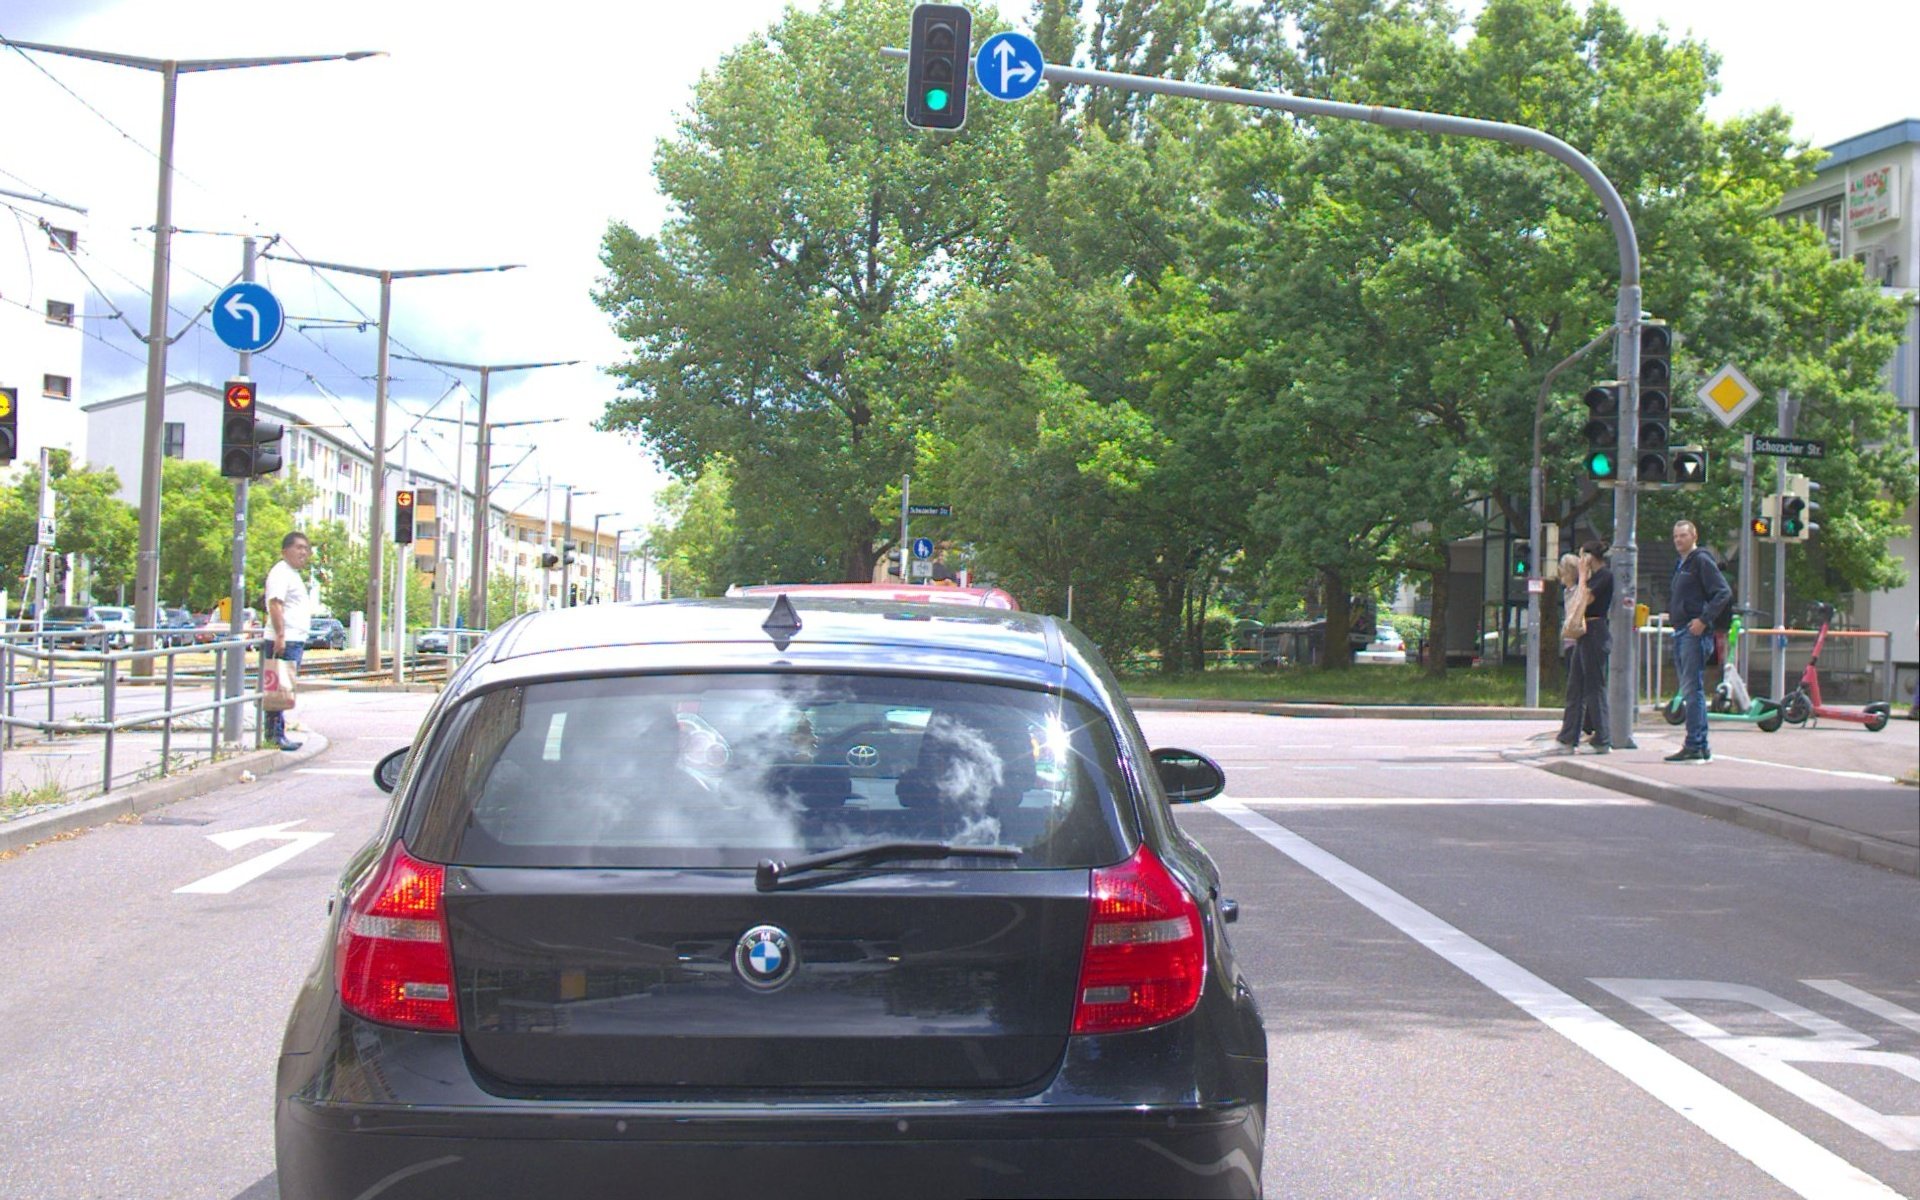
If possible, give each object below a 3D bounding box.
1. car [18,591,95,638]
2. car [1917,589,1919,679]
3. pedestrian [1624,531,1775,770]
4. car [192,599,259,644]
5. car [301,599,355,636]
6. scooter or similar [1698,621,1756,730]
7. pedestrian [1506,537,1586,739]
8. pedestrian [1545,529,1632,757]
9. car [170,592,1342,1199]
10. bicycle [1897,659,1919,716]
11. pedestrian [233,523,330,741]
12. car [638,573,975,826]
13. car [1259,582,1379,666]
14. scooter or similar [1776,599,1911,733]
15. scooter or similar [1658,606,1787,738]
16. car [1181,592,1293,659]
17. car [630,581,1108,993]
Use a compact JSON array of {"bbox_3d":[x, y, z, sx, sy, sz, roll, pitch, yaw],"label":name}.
[{"bbox_3d":[-29.392,0.457,111.929,1.591,1.469,3.775,1,0,-2],"label":"car"},{"bbox_3d":[16.055,0.209,48.317,4.534,2.007,2.000,2,0,-8],"label":"car"},{"bbox_3d":[5.910,0.399,27.514,1.010,1.870,0.798,1,0,1],"label":"pedestrian"},{"bbox_3d":[-26.246,0.767,122.954,1.651,1.529,3.872,1,0,-2],"label":"car"},{"bbox_3d":[-26.608,0.724,144.881,1.651,1.529,3.872,1,0,-2],"label":"car"},{"bbox_3d":[7.794,0.756,34.911,0.548,1.060,1.261,1,0,13],"label":"scooter or similar"},{"bbox_3d":[5.186,0.332,30.431,0.636,1.760,0.518,1,0,6],"label":"pedestrian"},{"bbox_3d":[5.228,0.350,28.612,0.636,1.870,0.518,1,0,6],"label":"pedestrian"},{"bbox_3d":[-0.321,0.706,6.740,1.700,1.395,3.420,1,0,-1],"label":"car"},{"bbox_3d":[10.842,0.978,37.377,0.532,0.608,1.591,3,0,-13],"label":"bicycle"},{"bbox_3d":[-5.452,0.252,27.655,0.687,1.728,0.688,0,0,-5],"label":"pedestrian"},{"bbox_3d":[-0.903,0.551,21.927,1.900,1.417,4.539,1,0,-1],"label":"car"},{"bbox_3d":[8.298,0.543,79.755,1.726,1.865,4.001,1,0,-9],"label":"car"},{"bbox_3d":[8.708,0.644,33.900,1.150,1.268,0.555,2,0,2],"label":"scooter or similar"},{"bbox_3d":[7.310,0.688,32.995,1.110,1.231,0.539,1,0,2],"label":"scooter or similar"},{"bbox_3d":[7.273,0.658,90.695,1.862,1.656,4.001,1,0,-11],"label":"car"},{"bbox_3d":[-0.334,0.639,13.643,1.638,1.395,3.420,1,0,-1],"label":"car"}]
